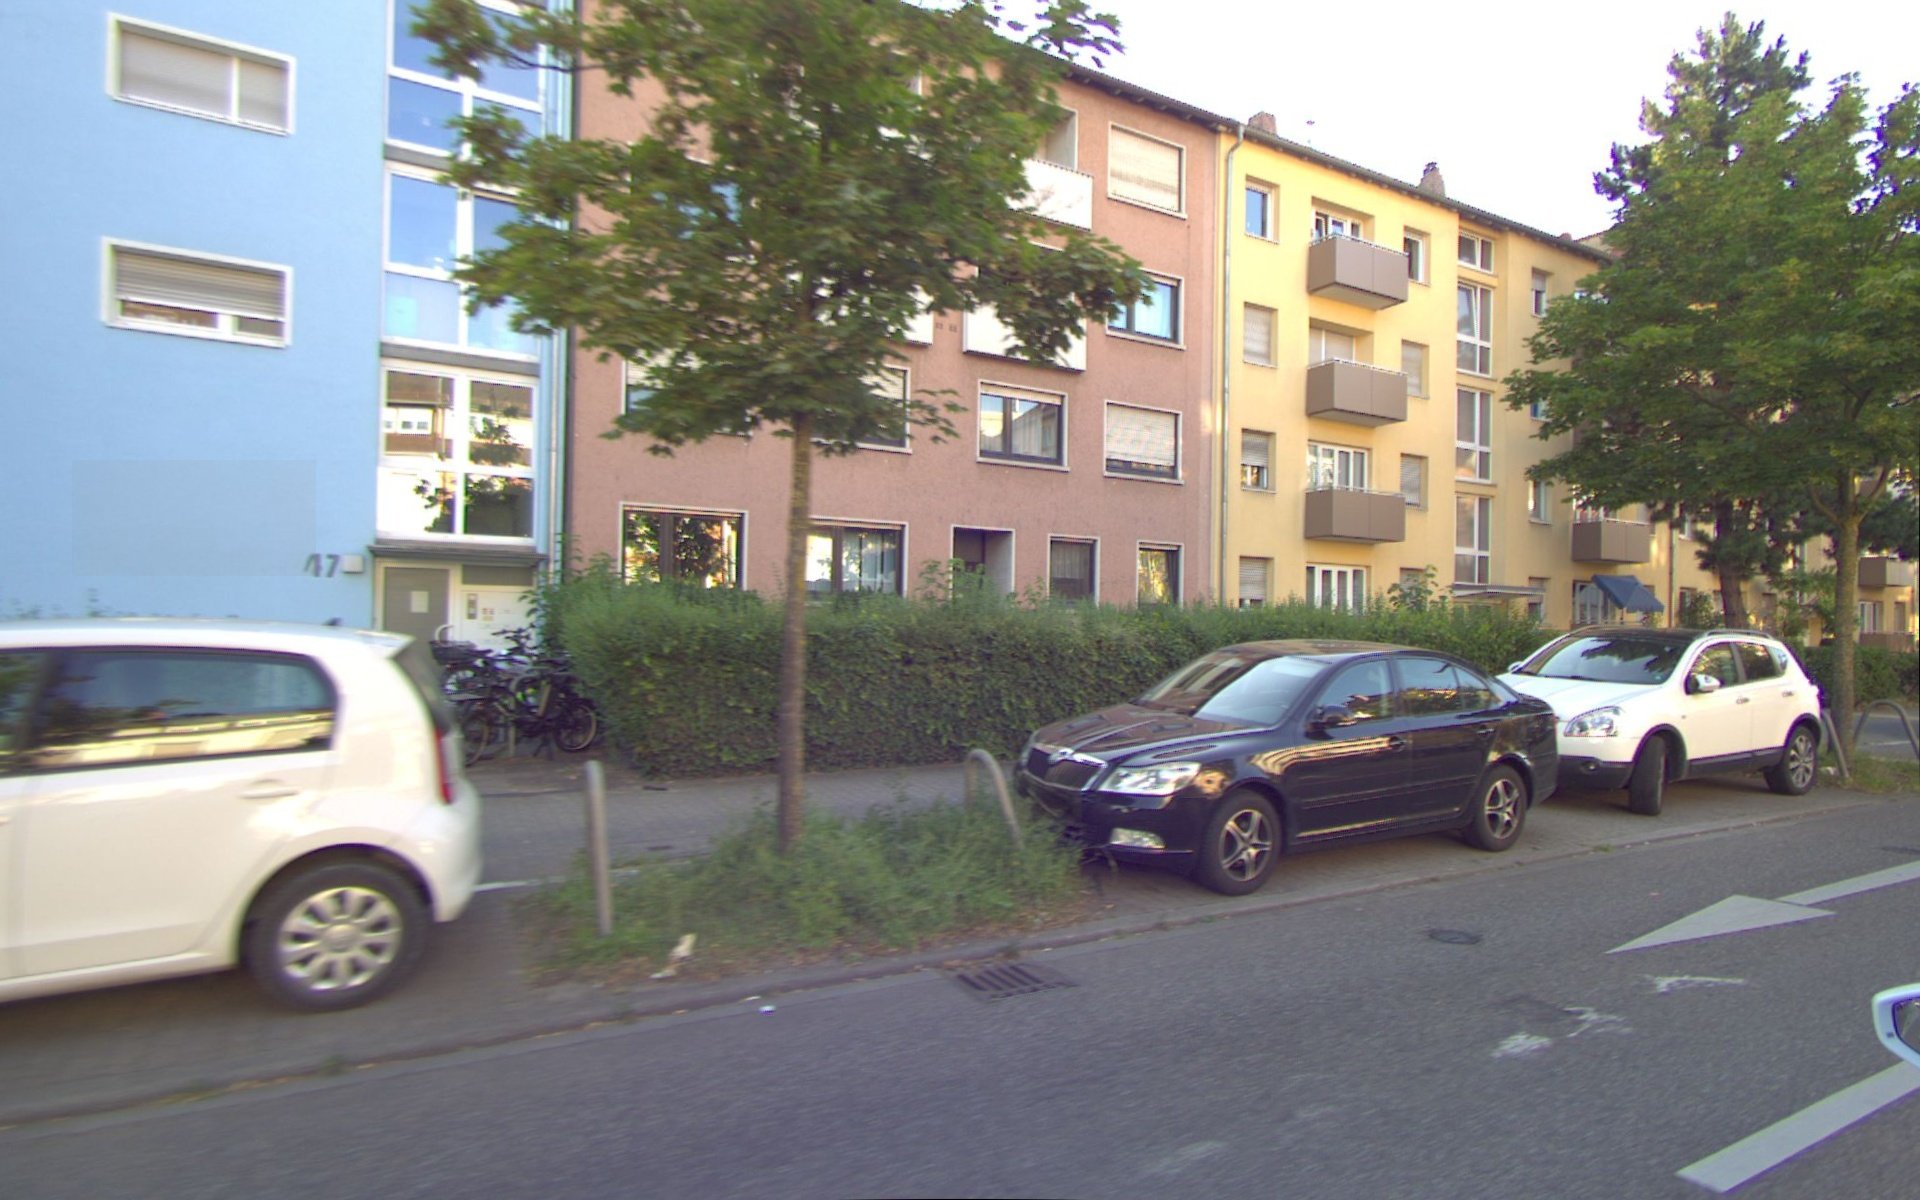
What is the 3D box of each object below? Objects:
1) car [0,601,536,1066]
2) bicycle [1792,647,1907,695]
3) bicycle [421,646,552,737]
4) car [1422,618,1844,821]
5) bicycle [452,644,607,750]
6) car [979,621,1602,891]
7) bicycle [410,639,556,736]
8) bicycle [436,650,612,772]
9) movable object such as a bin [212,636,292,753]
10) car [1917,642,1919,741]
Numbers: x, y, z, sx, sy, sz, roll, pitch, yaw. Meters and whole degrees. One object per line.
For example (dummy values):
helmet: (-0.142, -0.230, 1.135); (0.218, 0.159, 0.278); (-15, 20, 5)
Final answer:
car: (-3.710, 0.774, 3.915); (3.599, 1.512, 1.583); (2, -1, -30)
bicycle: (20.825, 1.639, 23.566); (0.575, 0.938, 1.928); (1, 1, -27)
bicycle: (-6.054, 1.144, 12.916); (0.525, 1.064, 1.476); (0, -1, 31)
car: (6.698, 1.040, 9.924); (4.135, 1.609, 1.769); (2, 0, -29)
bicycle: (-4.680, 1.018, 10.992); (0.526, 1.064, 1.473); (0, -2, 38)
car: (2.531, 0.933, 7.462); (4.405, 1.467, 1.984); (2, -2, -30)
bicycle: (-5.601, 1.003, 11.825); (1.464, 1.064, 0.529); (2, -1, -35)
bicycle: (-4.177, 1.025, 9.713); (0.526, 1.064, 1.472); (0, -2, 39)
movable object such as a bin: (-7.001, 0.910, 9.960); (0.552, 1.102, 0.727); (2, -2, -30)
car: (16.332, 1.401, 15.142); (3.876, 1.471, 1.709); (1, 0, -30)
